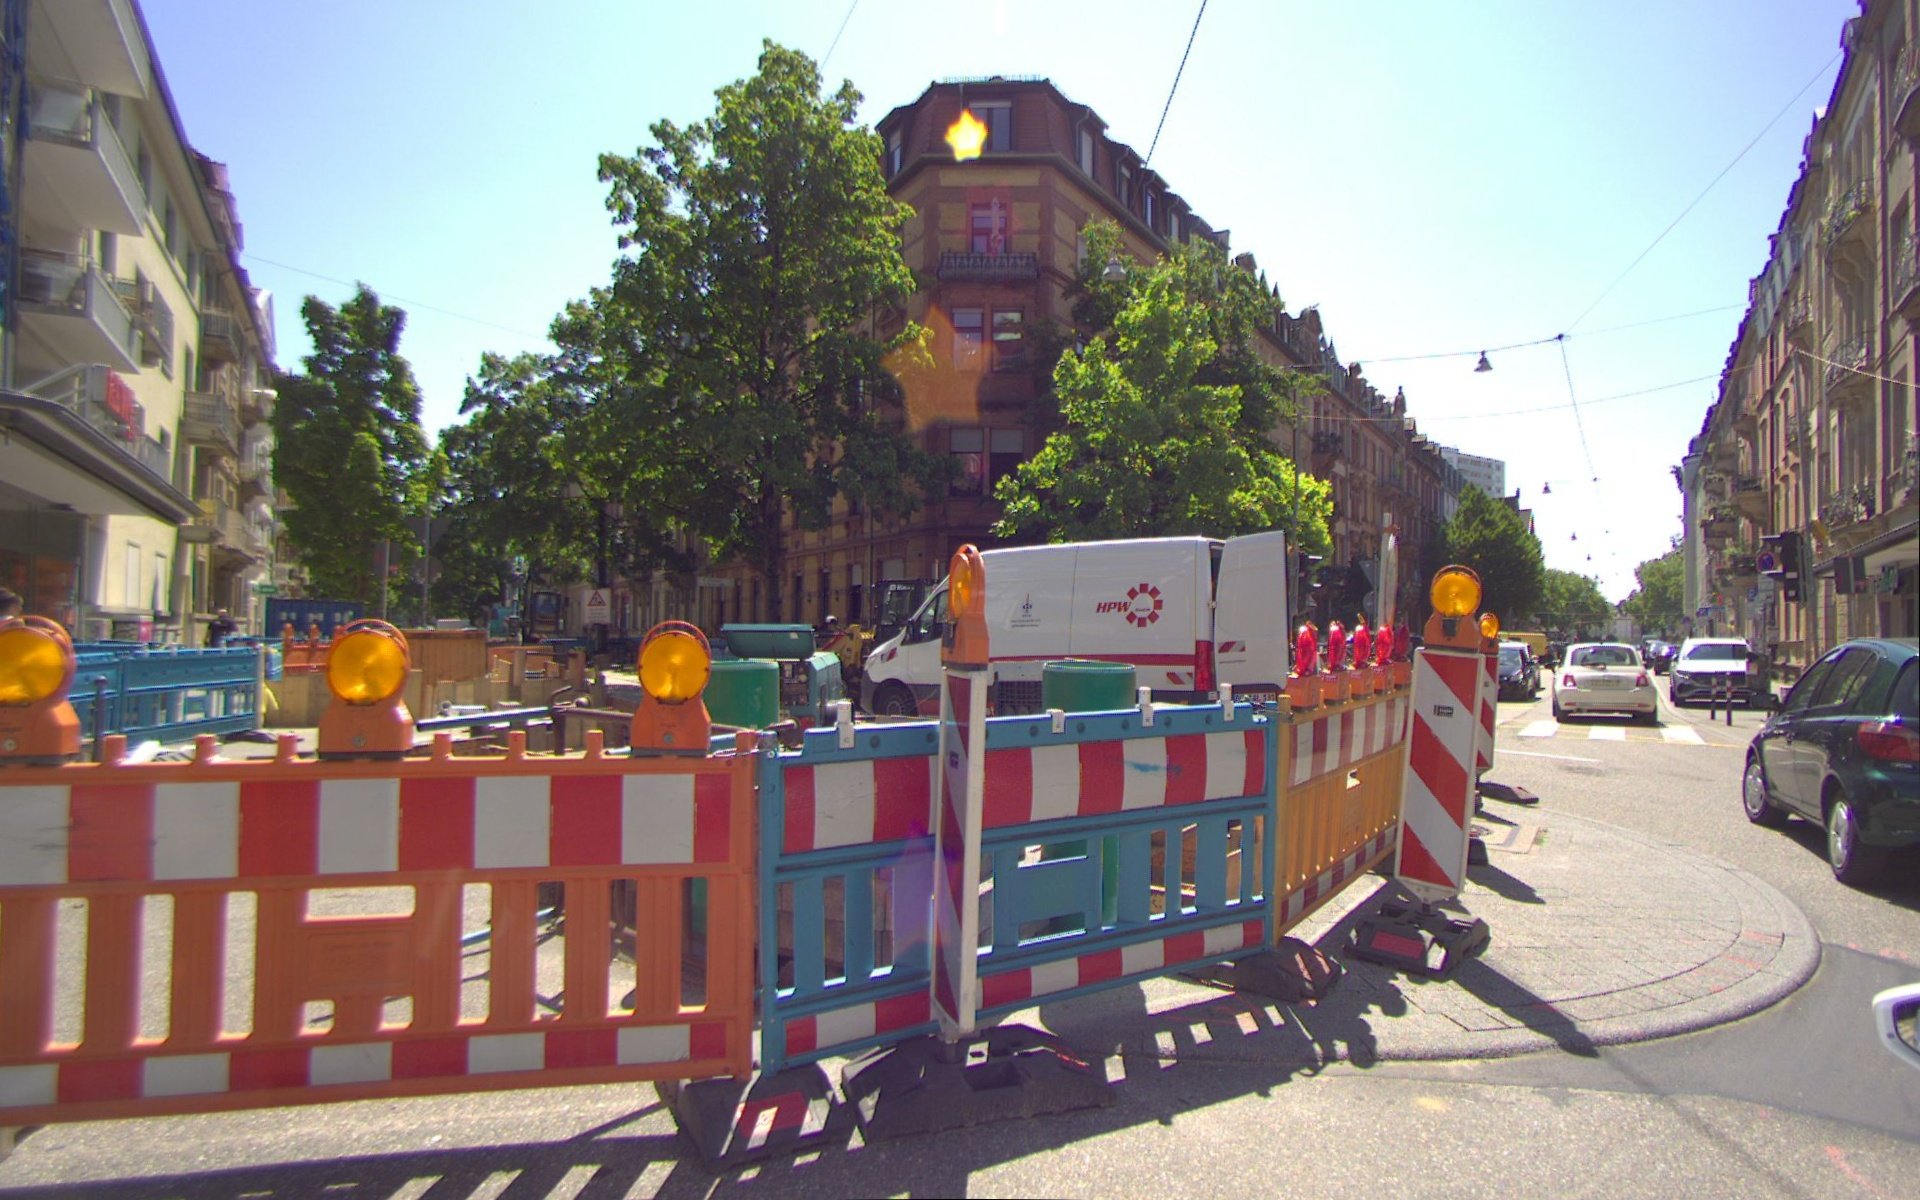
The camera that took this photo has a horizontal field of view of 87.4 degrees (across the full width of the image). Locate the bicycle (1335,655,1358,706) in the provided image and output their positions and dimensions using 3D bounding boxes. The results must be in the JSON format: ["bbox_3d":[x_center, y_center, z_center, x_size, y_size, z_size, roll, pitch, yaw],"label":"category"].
[{"bbox_3d":[9.719,2.005,25.260,0.482,1.188,1.685,2,-1,20],"label":"bicycle"}]

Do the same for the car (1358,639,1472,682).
[{"bbox_3d":[18.657,2.475,41.245,3.849,1.640,1.864,1,-2,-6],"label":"car"}]

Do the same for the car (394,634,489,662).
[{"bbox_3d":[-24.784,2.305,48.070,3.953,1.279,1.614,2,-2,-30],"label":"car"}]

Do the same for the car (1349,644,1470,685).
[{"bbox_3d":[17.222,2.463,38.612,3.850,1.489,1.864,1,-2,-7],"label":"car"}]

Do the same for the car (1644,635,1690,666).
[{"bbox_3d":[34.083,2.434,48.498,1.731,1.448,3.989,-1,-3,34],"label":"car"}]

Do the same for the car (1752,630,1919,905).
[{"bbox_3d":[6.540,0.994,6.676,1.590,1.505,3.234,1,-2,31],"label":"car"}]

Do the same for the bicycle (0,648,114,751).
[{"bbox_3d":[-10.176,1.090,11.193,1.543,1.086,0.343,0,-2,18],"label":"bicycle"}]

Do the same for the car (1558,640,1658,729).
[{"bbox_3d":[12.476,1.550,19.436,1.501,1.541,3.256,0,-2,32],"label":"car"}]

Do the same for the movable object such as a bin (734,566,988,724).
[{"bbox_3d":[-1.935,0.772,19.329,4.476,2.694,1.951,2,-1,30],"label":"movable object such as a bin"}]

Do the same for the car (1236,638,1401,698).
[{"bbox_3d":[9.841,1.845,27.836,3.919,1.394,2.001,2,-1,5],"label":"car"}]

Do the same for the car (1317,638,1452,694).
[{"bbox_3d":[14.400,2.213,34.278,3.919,1.680,1.761,2,-1,11],"label":"car"}]

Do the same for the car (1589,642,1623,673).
[{"bbox_3d":[35.295,3.135,54.905,1.501,1.613,3.256,0,-2,32],"label":"car"}]

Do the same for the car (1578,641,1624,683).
[{"bbox_3d":[25.719,2.450,40.349,1.501,1.613,3.256,0,-2,32],"label":"car"}]

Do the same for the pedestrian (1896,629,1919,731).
[{"bbox_3d":[15.895,1.307,16.494,0.632,1.645,0.802,0,-2,34],"label":"pedestrian"}]

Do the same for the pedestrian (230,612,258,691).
[{"bbox_3d":[-18.777,1.349,26.350,0.499,2.040,0.443,1,-2,-31],"label":"pedestrian"}]

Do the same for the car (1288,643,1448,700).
[{"bbox_3d":[12.000,2.079,29.752,3.920,1.431,1.972,2,-1,2],"label":"car"}]

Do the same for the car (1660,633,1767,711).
[{"bbox_3d":[18.589,1.740,24.950,1.847,1.735,4.491,-2,-4,34],"label":"car"}]

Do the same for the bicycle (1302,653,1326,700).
[{"bbox_3d":[8.931,1.910,25.301,0.482,1.095,1.899,2,-1,21],"label":"bicycle"}]

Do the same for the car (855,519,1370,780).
[{"bbox_3d":[1.839,0.607,13.632,6.535,2.787,2.372,0,-3,36],"label":"car"}]

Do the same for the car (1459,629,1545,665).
[{"bbox_3d":[35.153,3.023,65.221,4.480,2.216,2.002,1,-2,7],"label":"car"}]

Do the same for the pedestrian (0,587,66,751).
[{"bbox_3d":[-10.135,0.738,10.823,0.580,1.737,0.389,1,-2,-17],"label":"pedestrian"}]

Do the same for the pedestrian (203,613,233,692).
[{"bbox_3d":[-19.258,1.353,26.092,0.539,2.040,0.410,1,-2,-31],"label":"pedestrian"}]

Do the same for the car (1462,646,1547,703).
[{"bbox_3d":[15.472,2.055,28.478,1.731,1.463,3.989,-1,-3,34],"label":"car"}]

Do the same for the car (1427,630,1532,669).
[{"bbox_3d":[28.636,2.715,55.475,4.692,2.020,2.055,1,-2,6],"label":"car"}]

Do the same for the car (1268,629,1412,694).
[{"bbox_3d":[12.078,1.933,32.087,3.919,1.828,1.770,2,-1,5],"label":"car"}]

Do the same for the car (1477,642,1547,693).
[{"bbox_3d":[19.758,2.378,35.866,1.731,1.666,4.365,-4,-4,34],"label":"car"}]
